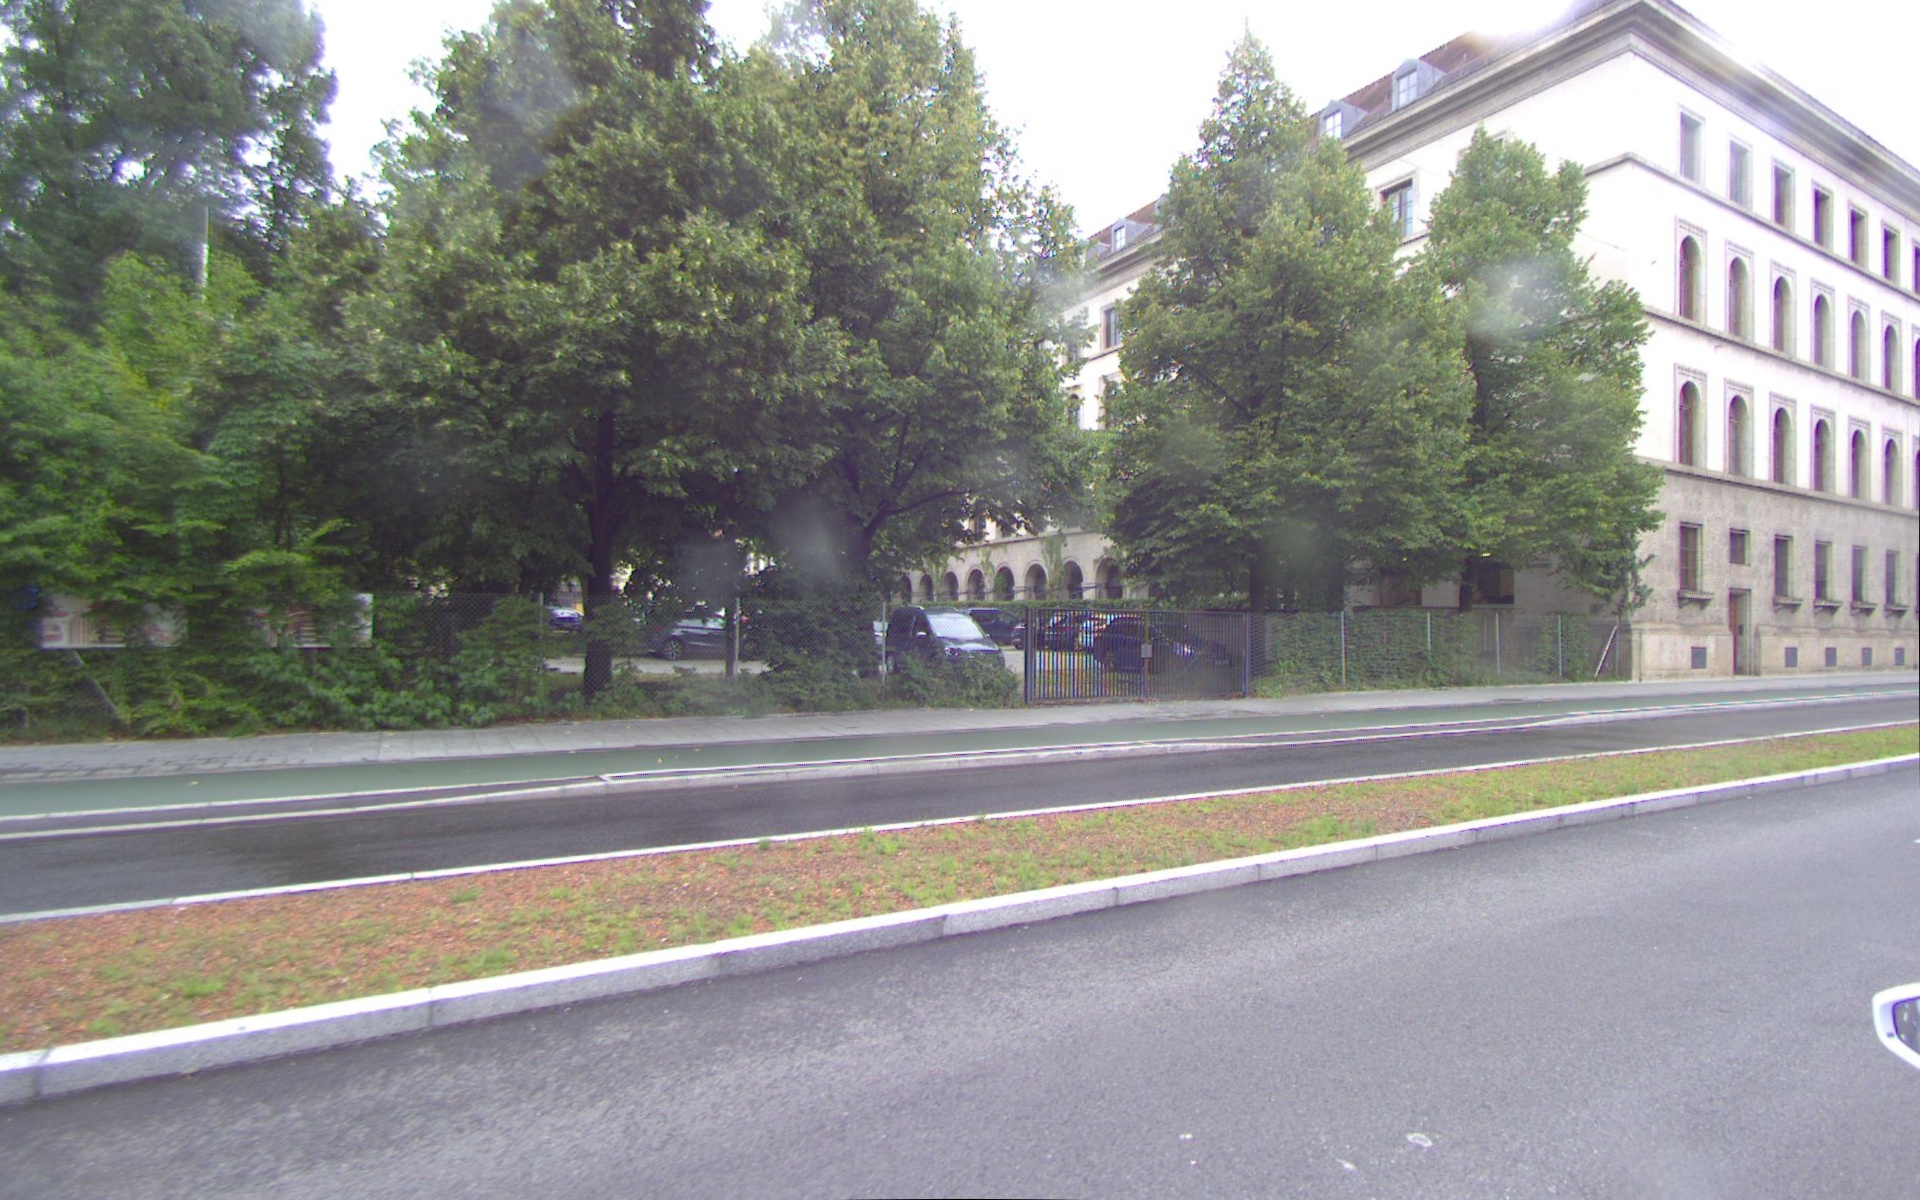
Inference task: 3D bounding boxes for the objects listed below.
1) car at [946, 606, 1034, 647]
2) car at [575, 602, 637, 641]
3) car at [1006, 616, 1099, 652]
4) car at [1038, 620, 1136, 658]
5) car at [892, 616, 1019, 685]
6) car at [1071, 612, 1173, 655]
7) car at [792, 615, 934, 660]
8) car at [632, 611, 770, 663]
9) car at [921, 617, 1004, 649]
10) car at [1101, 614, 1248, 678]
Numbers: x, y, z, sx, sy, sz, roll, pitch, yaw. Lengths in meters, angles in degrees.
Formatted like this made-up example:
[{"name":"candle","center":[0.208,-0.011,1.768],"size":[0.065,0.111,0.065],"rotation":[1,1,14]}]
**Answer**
[{"name":"car","center":[1.488,1.300,49.638],"size":[3.949,1.954,1.838],"rotation":[1,-1,-28]},{"name":"car","center":[-16.956,1.028,48.006],"size":[1.978,1.742,3.965],"rotation":[1,-1,-32]},{"name":"car","center":[4.190,1.541,45.316],"size":[3.954,1.564,1.761],"rotation":[1,-1,-31]},{"name":"car","center":[5.488,1.671,43.220],"size":[3.954,1.564,1.761],"rotation":[1,-1,-31]},{"name":"car","center":[-0.217,1.234,25.572],"size":[1.779,1.610,4.137],"rotation":[1,-1,-23]},{"name":"car","center":[6.641,1.360,41.092],"size":[3.954,1.662,1.657],"rotation":[1,-1,-31]},{"name":"car","center":[-3.386,1.304,35.232],"size":[4.580,1.460,1.983],"rotation":[1,-1,-31]},{"name":"car","center":[-8.267,1.160,32.136],"size":[3.956,1.564,1.761],"rotation":[1,-1,-32]},{"name":"car","center":[0.153,1.692,51.524],"size":[3.954,1.564,1.761],"rotation":[1,-1,-31]},{"name":"car","center":[6.084,1.276,28.945],"size":[1.783,1.671,4.243],"rotation":[1,-2,-30]}]
